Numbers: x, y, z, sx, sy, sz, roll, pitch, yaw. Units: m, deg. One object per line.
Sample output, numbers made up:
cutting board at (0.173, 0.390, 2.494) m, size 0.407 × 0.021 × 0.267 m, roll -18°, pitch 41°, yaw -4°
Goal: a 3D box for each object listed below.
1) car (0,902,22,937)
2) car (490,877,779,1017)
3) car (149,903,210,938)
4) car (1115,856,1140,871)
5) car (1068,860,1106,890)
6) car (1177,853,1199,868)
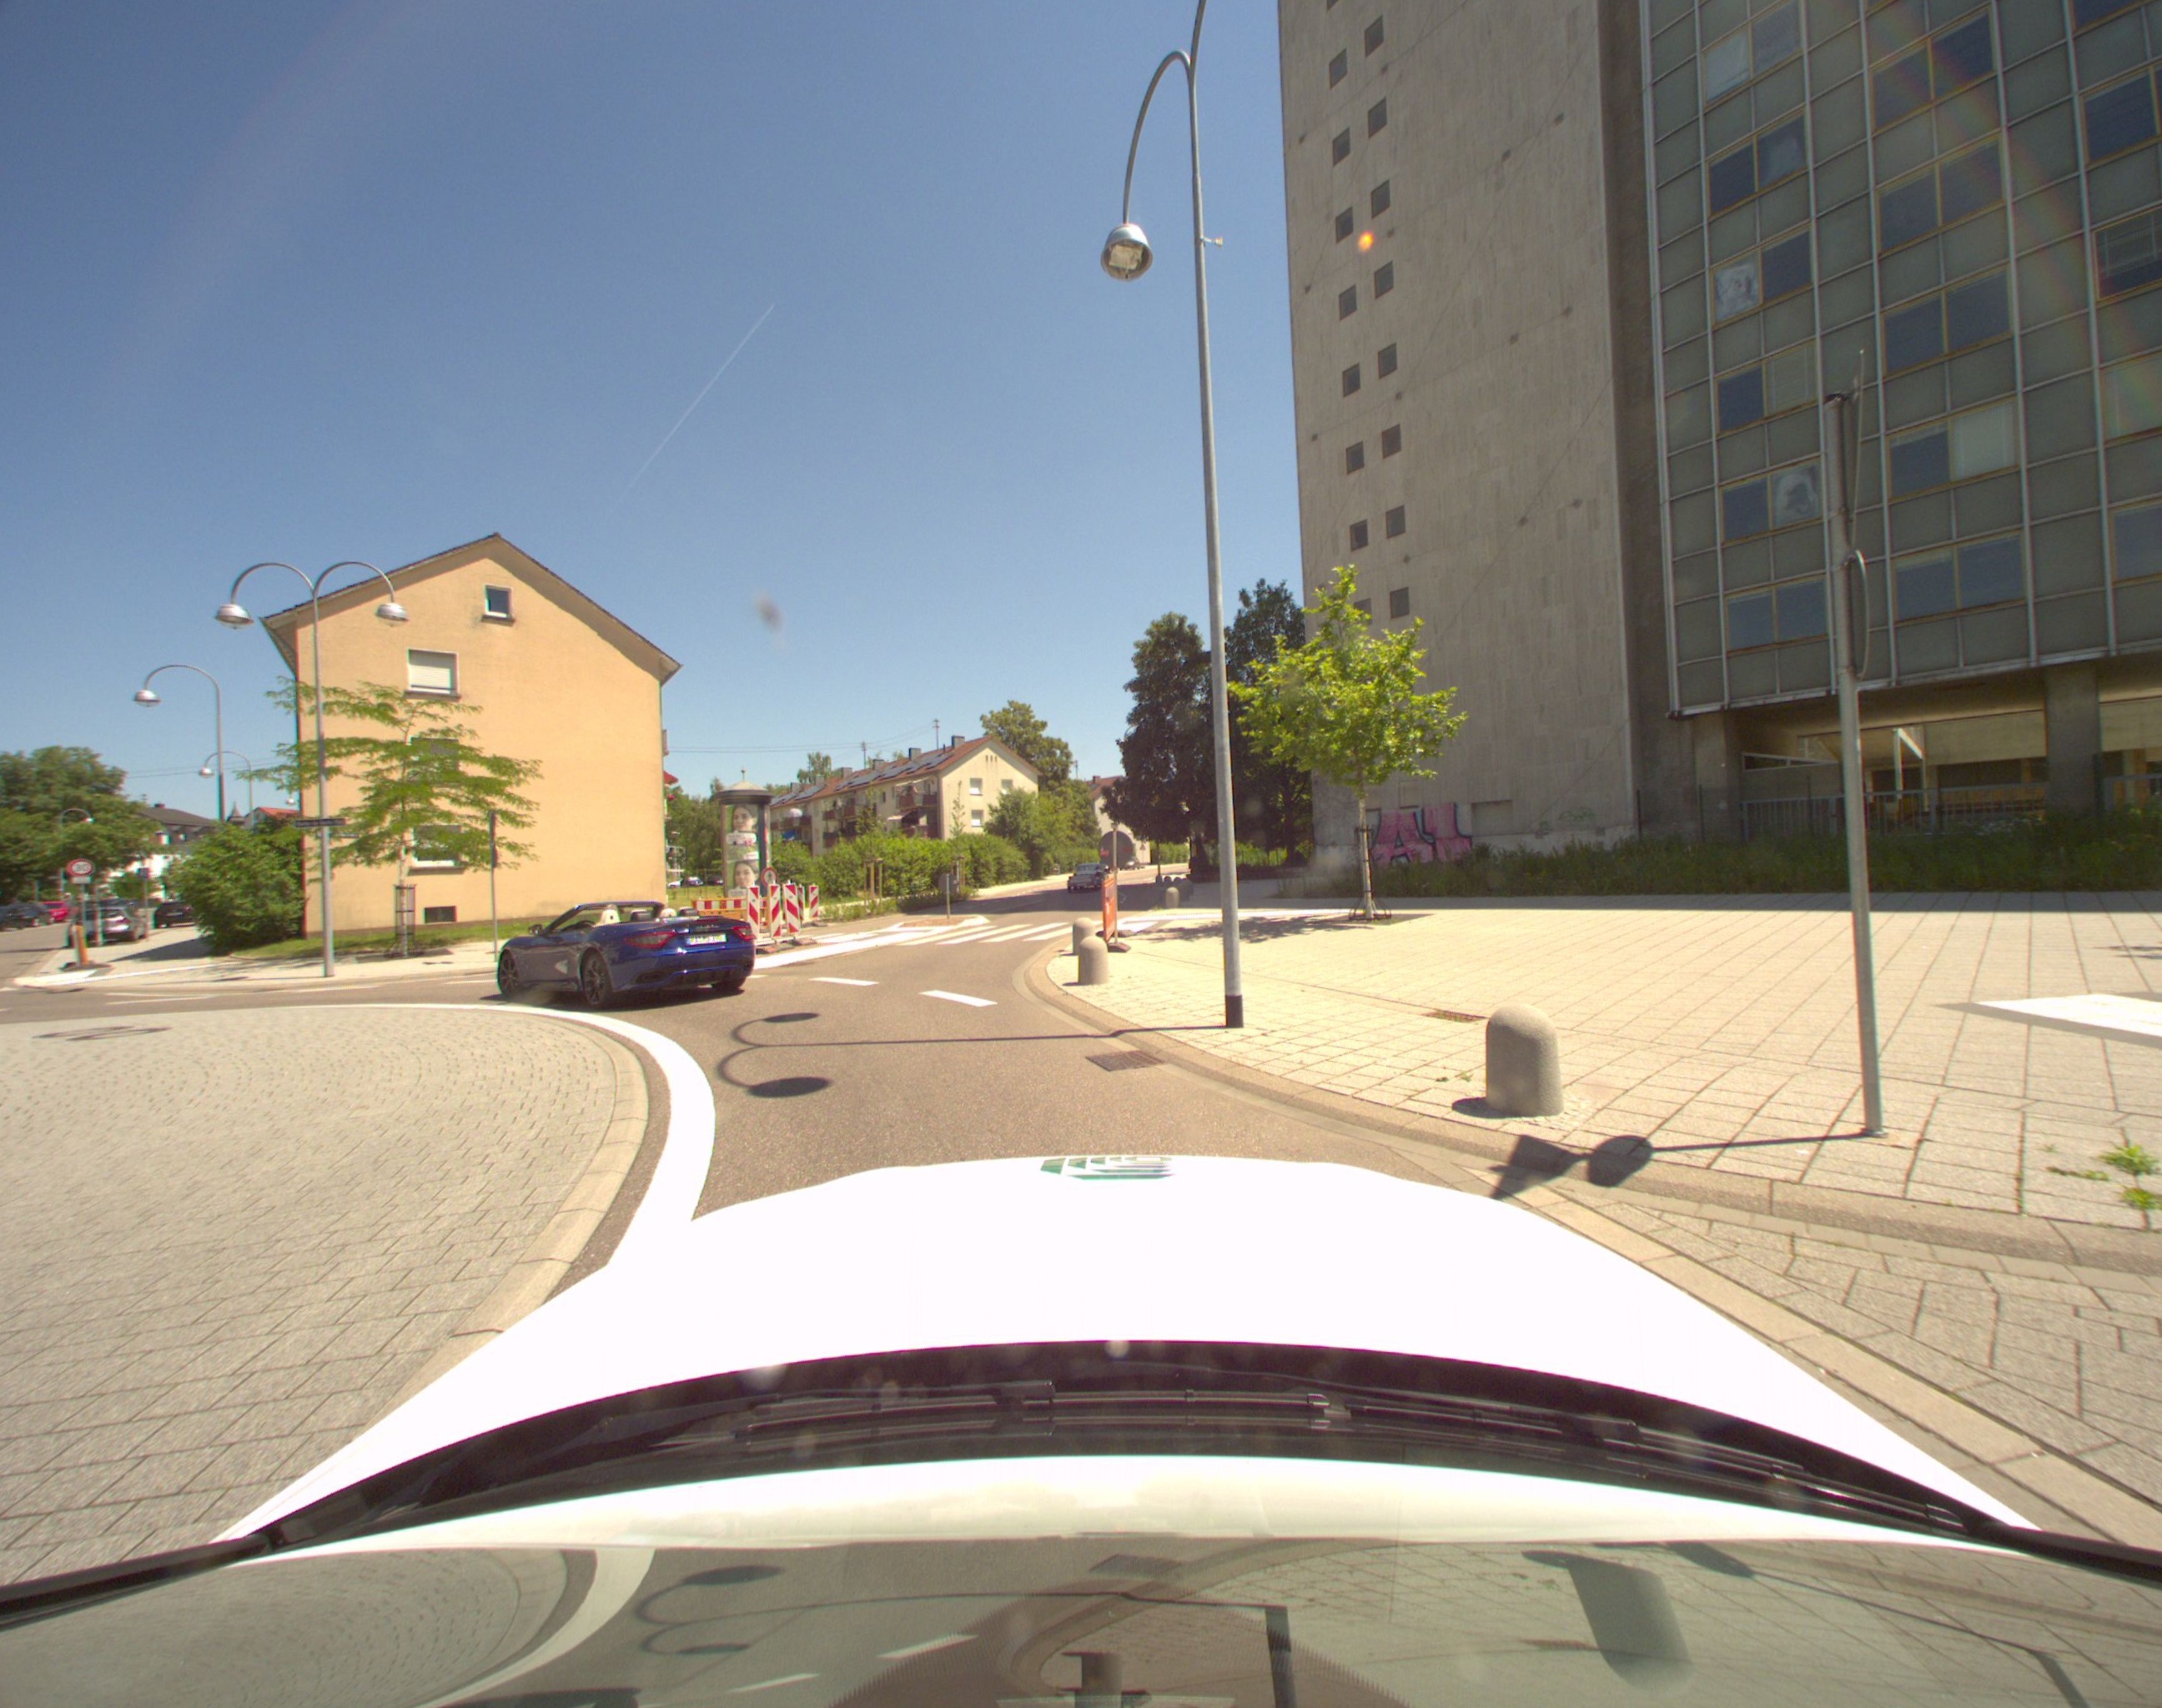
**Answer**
car at (-64.732, 3.944, 48.062) m, size 2.086 × 2.013 × 3.951 m, roll -3°, pitch -1°, yaw -43°
car at (-6.383, 1.239, 11.434) m, size 4.448 × 1.530 × 1.889 m, roll -5°, pitch -2°, yaw 37°
car at (-50.913, 3.724, 46.066) m, size 1.828 × 1.794 × 3.952 m, roll 0°, pitch -2°, yaw -41°
car at (5.204, 1.054, 90.152) m, size 1.724 × 1.436 × 3.728 m, roll -4°, pitch 0°, yaw 18°
car at (0.347, 1.095, 44.106) m, size 1.731 × 1.436 × 3.714 m, roll -4°, pitch 0°, yaw 4°
car at (12.044, 0.687, 91.622) m, size 1.725 × 1.436 × 3.728 m, roll -4°, pitch 0°, yaw 17°
